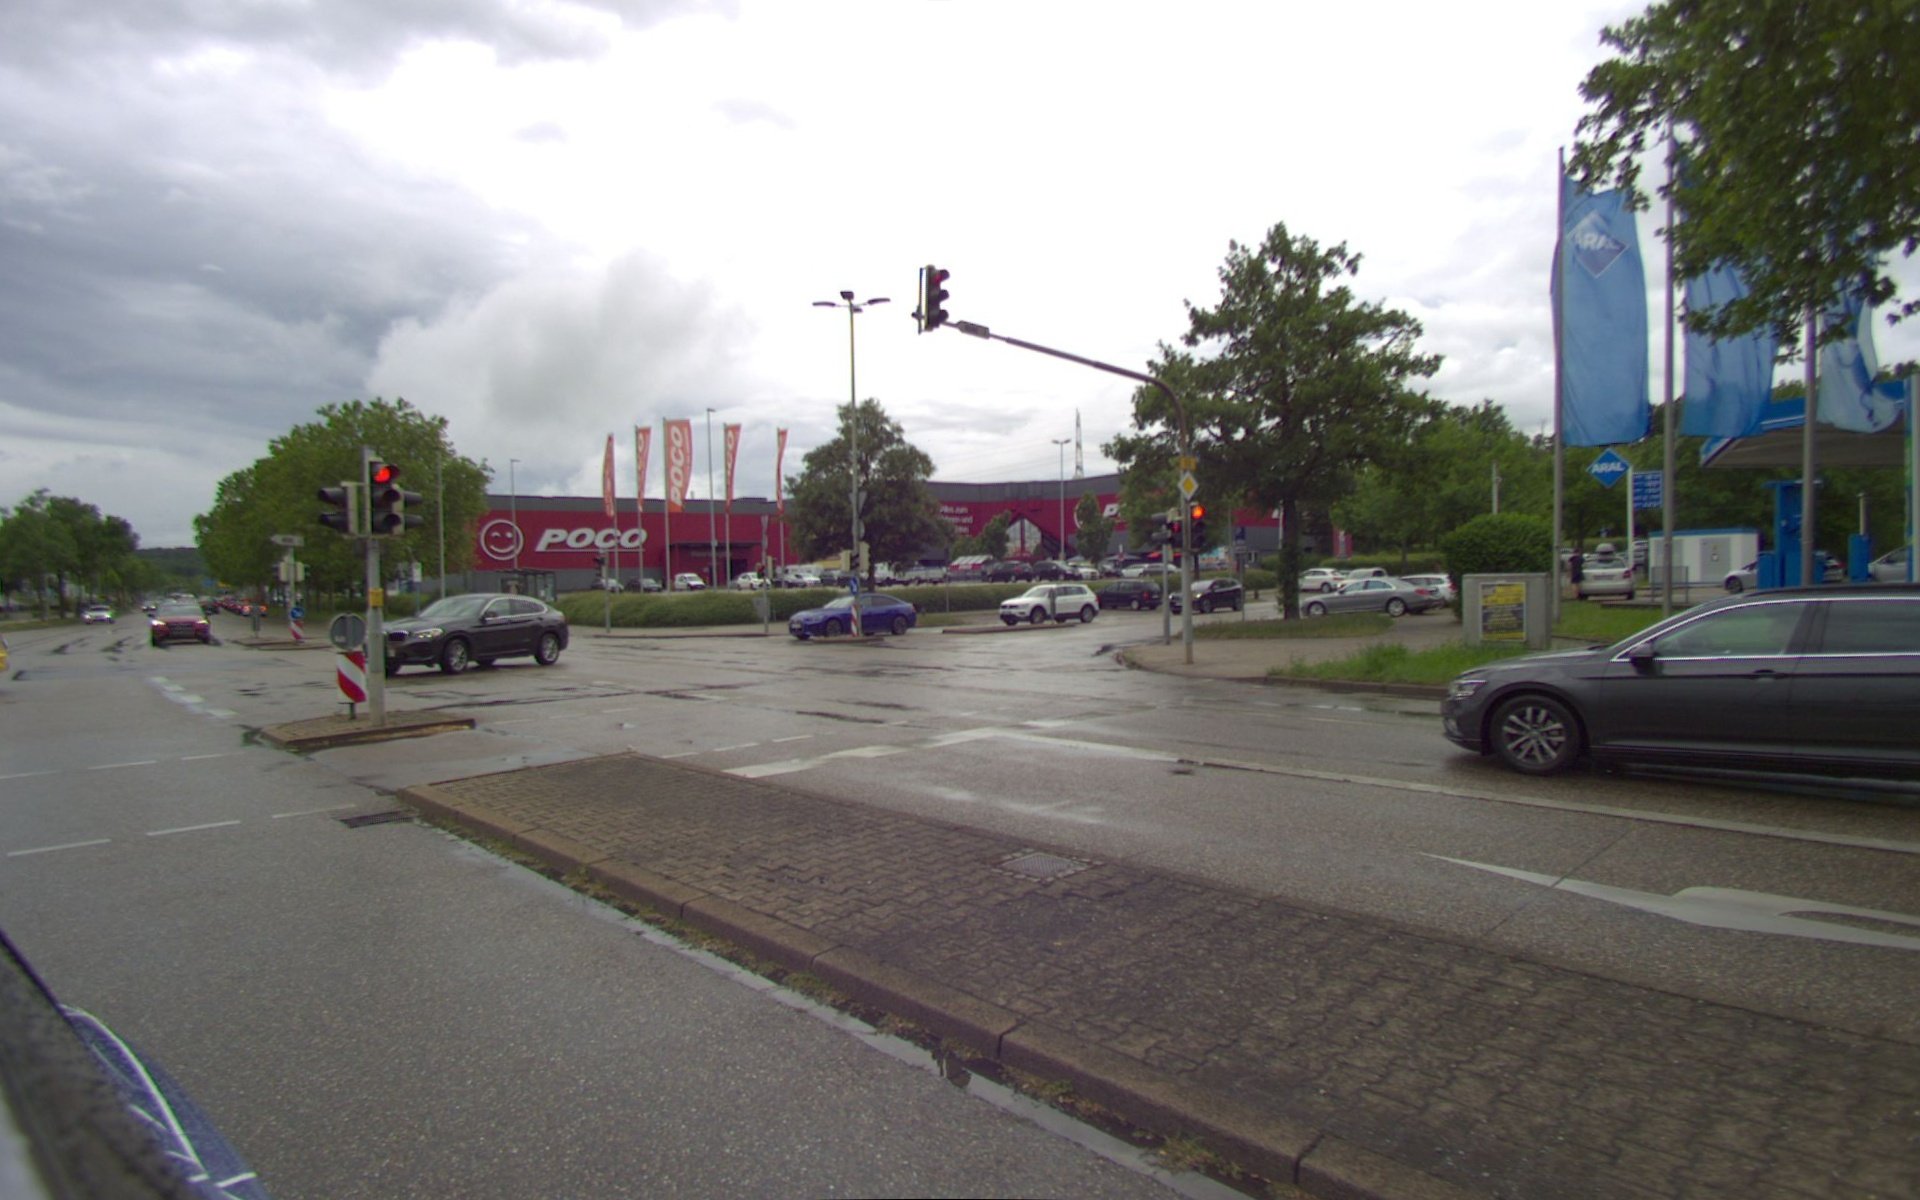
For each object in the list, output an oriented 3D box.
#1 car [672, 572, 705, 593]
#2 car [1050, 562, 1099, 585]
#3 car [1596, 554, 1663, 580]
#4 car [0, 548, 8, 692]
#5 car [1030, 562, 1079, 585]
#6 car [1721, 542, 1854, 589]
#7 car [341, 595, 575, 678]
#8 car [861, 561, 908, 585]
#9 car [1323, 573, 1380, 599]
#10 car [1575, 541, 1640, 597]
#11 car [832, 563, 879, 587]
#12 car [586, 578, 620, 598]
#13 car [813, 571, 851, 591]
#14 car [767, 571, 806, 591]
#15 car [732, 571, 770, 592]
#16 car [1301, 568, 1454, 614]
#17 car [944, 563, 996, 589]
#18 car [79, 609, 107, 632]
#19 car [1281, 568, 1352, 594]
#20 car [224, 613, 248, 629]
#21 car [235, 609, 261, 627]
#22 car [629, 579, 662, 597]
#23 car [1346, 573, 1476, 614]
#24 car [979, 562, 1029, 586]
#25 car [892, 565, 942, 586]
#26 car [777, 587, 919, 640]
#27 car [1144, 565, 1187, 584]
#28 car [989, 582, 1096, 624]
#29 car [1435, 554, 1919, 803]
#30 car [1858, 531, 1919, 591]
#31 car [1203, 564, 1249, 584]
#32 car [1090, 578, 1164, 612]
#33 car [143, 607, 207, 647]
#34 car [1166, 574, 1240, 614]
[{"bbox_3d":[-26.817,-1.691,99.949,1.763,1.940,3.757,-1,0,-39],"label":"car"},{"bbox_3d":[9.081,-2.082,80.594,1.646,1.658,3.835,-1,0,-37],"label":"car"},{"bbox_3d":[48.057,-2.355,72.659,1.672,1.763,3.714,-1,1,-44],"label":"car"},{"bbox_3d":[-19.102,0.436,16.626,2.248,2.492,4.942,-2,0,45],"label":"car"},{"bbox_3d":[7.311,-2.042,78.526,1.646,1.658,3.835,-1,0,-37],"label":"car"},{"bbox_3d":[34.368,-1.401,42.182,1.765,1.741,4.010,-1,0,-12],"label":"car"},{"bbox_3d":[-10.506,0.704,21.606,1.885,1.565,4.568,-1,0,16],"label":"car"},{"bbox_3d":[-5.682,-1.977,75.883,1.606,1.658,3.835,-1,0,-37],"label":"car"},{"bbox_3d":[22.925,-0.825,59.257,3.618,1.467,1.704,-1,0,-44],"label":"car"},{"bbox_3d":[22.581,-1.044,35.279,1.809,1.810,3.658,-1,0,34],"label":"car"},{"bbox_3d":[-7.633,-1.801,73.655,1.646,1.658,3.835,-1,0,-37],"label":"car"},{"bbox_3d":[-31.576,-1.062,89.366,1.670,1.658,3.971,-1,0,-37],"label":"car"},{"bbox_3d":[-11.539,-1.694,91.148,1.646,1.658,3.971,-1,0,-37],"label":"car"},{"bbox_3d":[-15.181,-1.623,88.361,1.646,1.658,3.971,-1,0,-37],"label":"car"},{"bbox_3d":[-18.063,-1.575,87.302,1.646,1.658,3.971,-1,0,-37],"label":"car"},{"bbox_3d":[15.548,-0.294,37.865,4.904,1.560,1.971,-2,-1,45],"label":"car"},{"bbox_3d":[0.887,-2.225,95.152,1.796,2.321,5.659,-1,0,-37],"label":"car"},{"bbox_3d":[-69.111,1.636,80.702,1.596,1.741,3.684,-1,-1,-39],"label":"car"},{"bbox_3d":[24.282,-1.296,69.111,1.659,1.621,4.291,-1,0,-42],"label":"car"},{"bbox_3d":[-75.185,2.147,105.111,1.814,1.601,4.008,-1,0,-38],"label":"car"},{"bbox_3d":[-68.429,1.751,97.202,1.814,1.601,4.008,0,-2,-38],"label":"car"},{"bbox_3d":[-29.958,-1.141,96.357,1.670,1.658,3.971,-1,0,-37],"label":"car"},{"bbox_3d":[18.763,-0.232,42.245,4.589,1.601,1.901,-1,0,45],"label":"car"},{"bbox_3d":[3.268,-1.964,75.710,1.646,1.658,3.835,-1,0,-37],"label":"car"},{"bbox_3d":[-3.125,-1.762,72.750,1.646,1.391,3.917,-1,0,-37],"label":"car"},{"bbox_3d":[-3.676,0.407,33.727,4.481,1.645,1.804,-1,0,-41],"label":"car"},{"bbox_3d":[19.204,-2.333,94.720,1.646,1.658,3.835,-1,0,-37],"label":"car"},{"bbox_3d":[3.329,0.125,40.637,3.934,1.565,1.906,-1,-1,-35],"label":"car"},{"bbox_3d":[6.216,0.478,7.216,1.970,1.520,4.733,-1,0,-44],"label":"car"},{"bbox_3d":[30.988,-1.273,31.492,1.914,1.821,4.139,-4,1,-13],"label":"car"},{"bbox_3d":[24.216,-2.379,92.167,1.646,1.658,3.835,-1,0,-37],"label":"car"},{"bbox_3d":[9.016,-0.274,54.916,3.662,1.737,1.660,-1,0,45],"label":"car"},{"bbox_3d":[-30.940,1.052,39.868,1.692,1.475,4.005,2,-2,-42],"label":"car"},{"bbox_3d":[11.404,-0.294,47.389,3.484,1.709,1.604,-3,2,-41],"label":"car"}]
